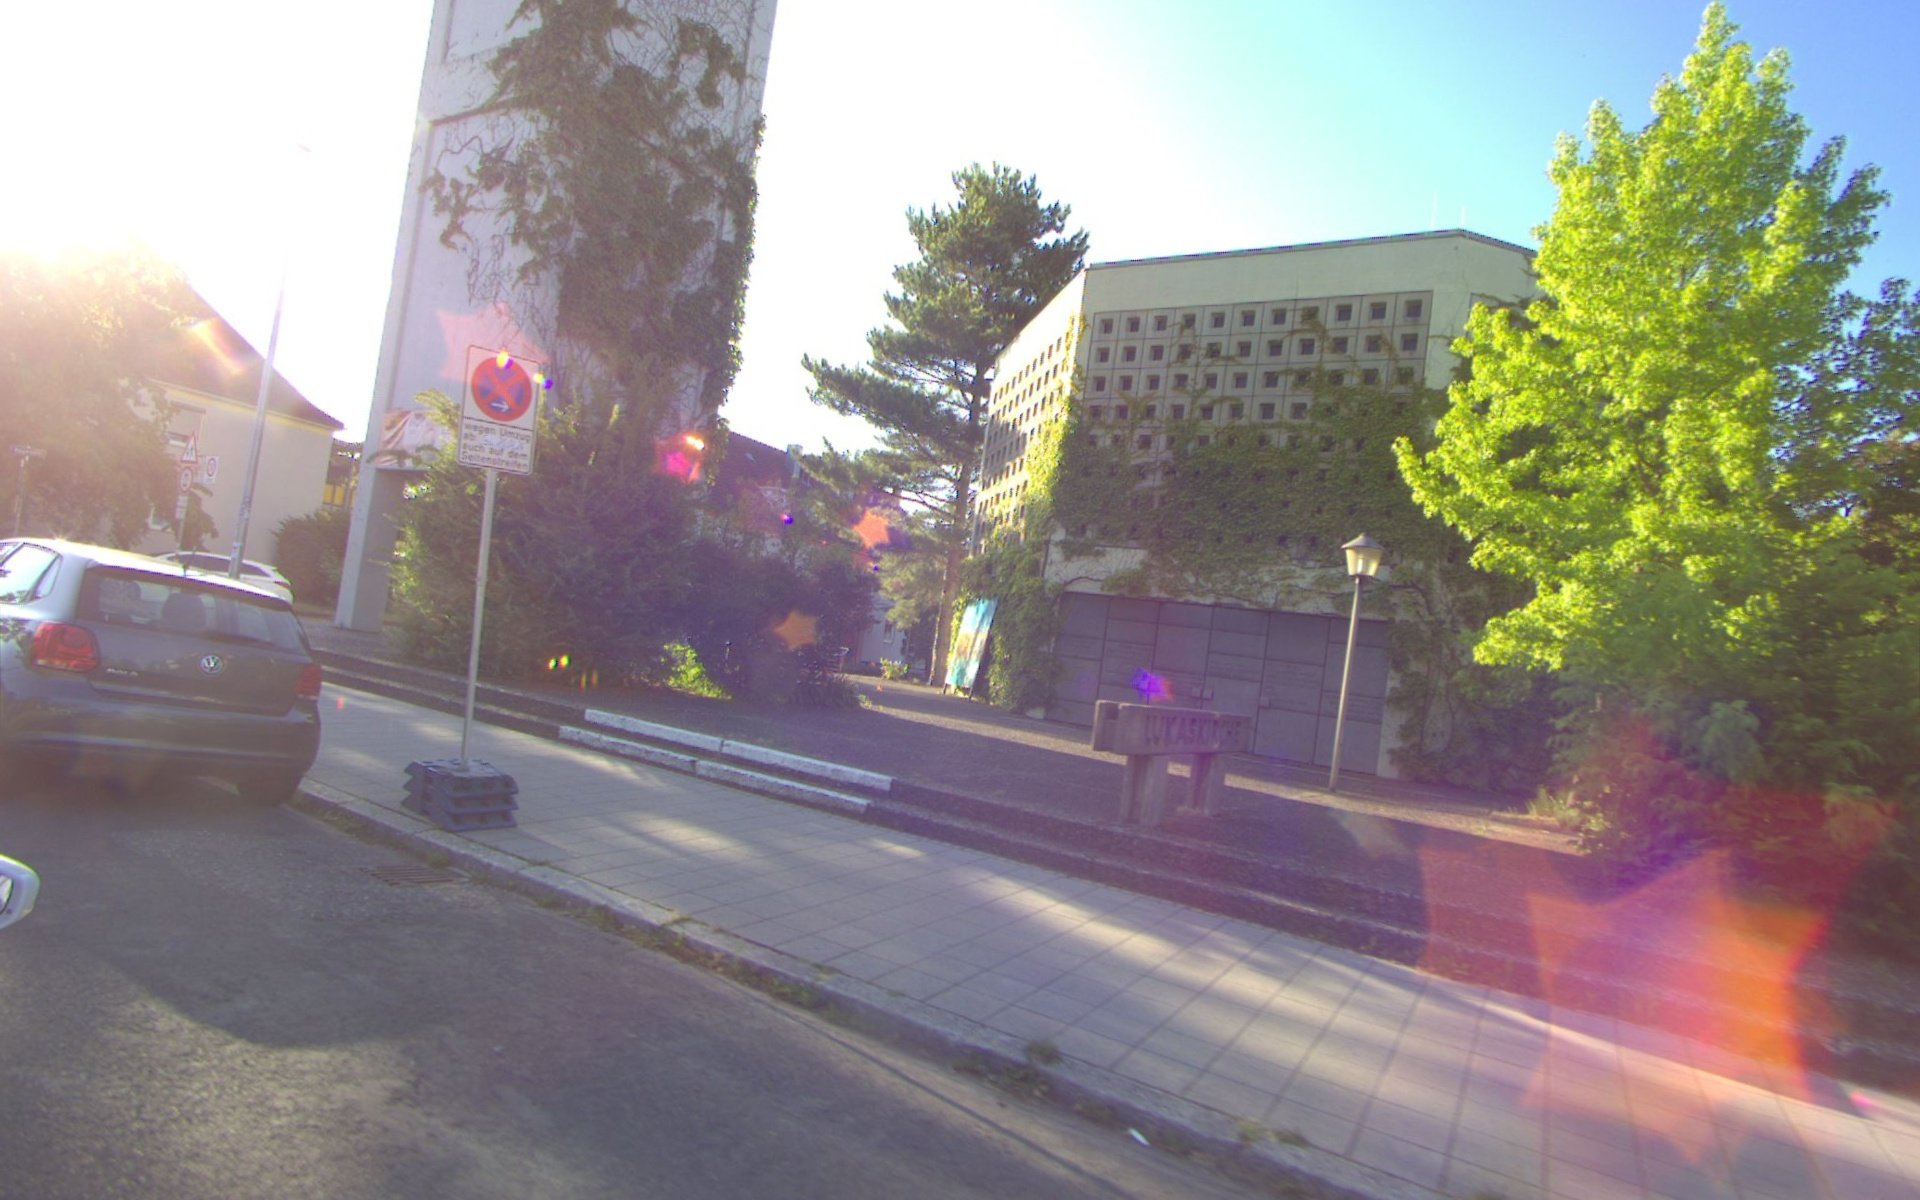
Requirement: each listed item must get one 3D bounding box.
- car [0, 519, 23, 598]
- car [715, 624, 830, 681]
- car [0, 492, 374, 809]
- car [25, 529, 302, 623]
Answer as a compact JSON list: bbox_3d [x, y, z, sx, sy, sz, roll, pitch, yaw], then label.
[{"bbox_3d":[-11.694,-0.368,10.238,4.547,1.573,1.832,5,-10,33],"label":"car"},{"bbox_3d":[-8.078,2.330,43.857,2.137,1.993,5.020,2,-6,28],"label":"car"},{"bbox_3d":[-6.070,0.220,6.835,4.106,1.541,1.695,6,-8,32],"label":"car"},{"bbox_3d":[-19.377,-0.500,24.748,1.970,1.500,4.862,1,-7,31],"label":"car"}]
